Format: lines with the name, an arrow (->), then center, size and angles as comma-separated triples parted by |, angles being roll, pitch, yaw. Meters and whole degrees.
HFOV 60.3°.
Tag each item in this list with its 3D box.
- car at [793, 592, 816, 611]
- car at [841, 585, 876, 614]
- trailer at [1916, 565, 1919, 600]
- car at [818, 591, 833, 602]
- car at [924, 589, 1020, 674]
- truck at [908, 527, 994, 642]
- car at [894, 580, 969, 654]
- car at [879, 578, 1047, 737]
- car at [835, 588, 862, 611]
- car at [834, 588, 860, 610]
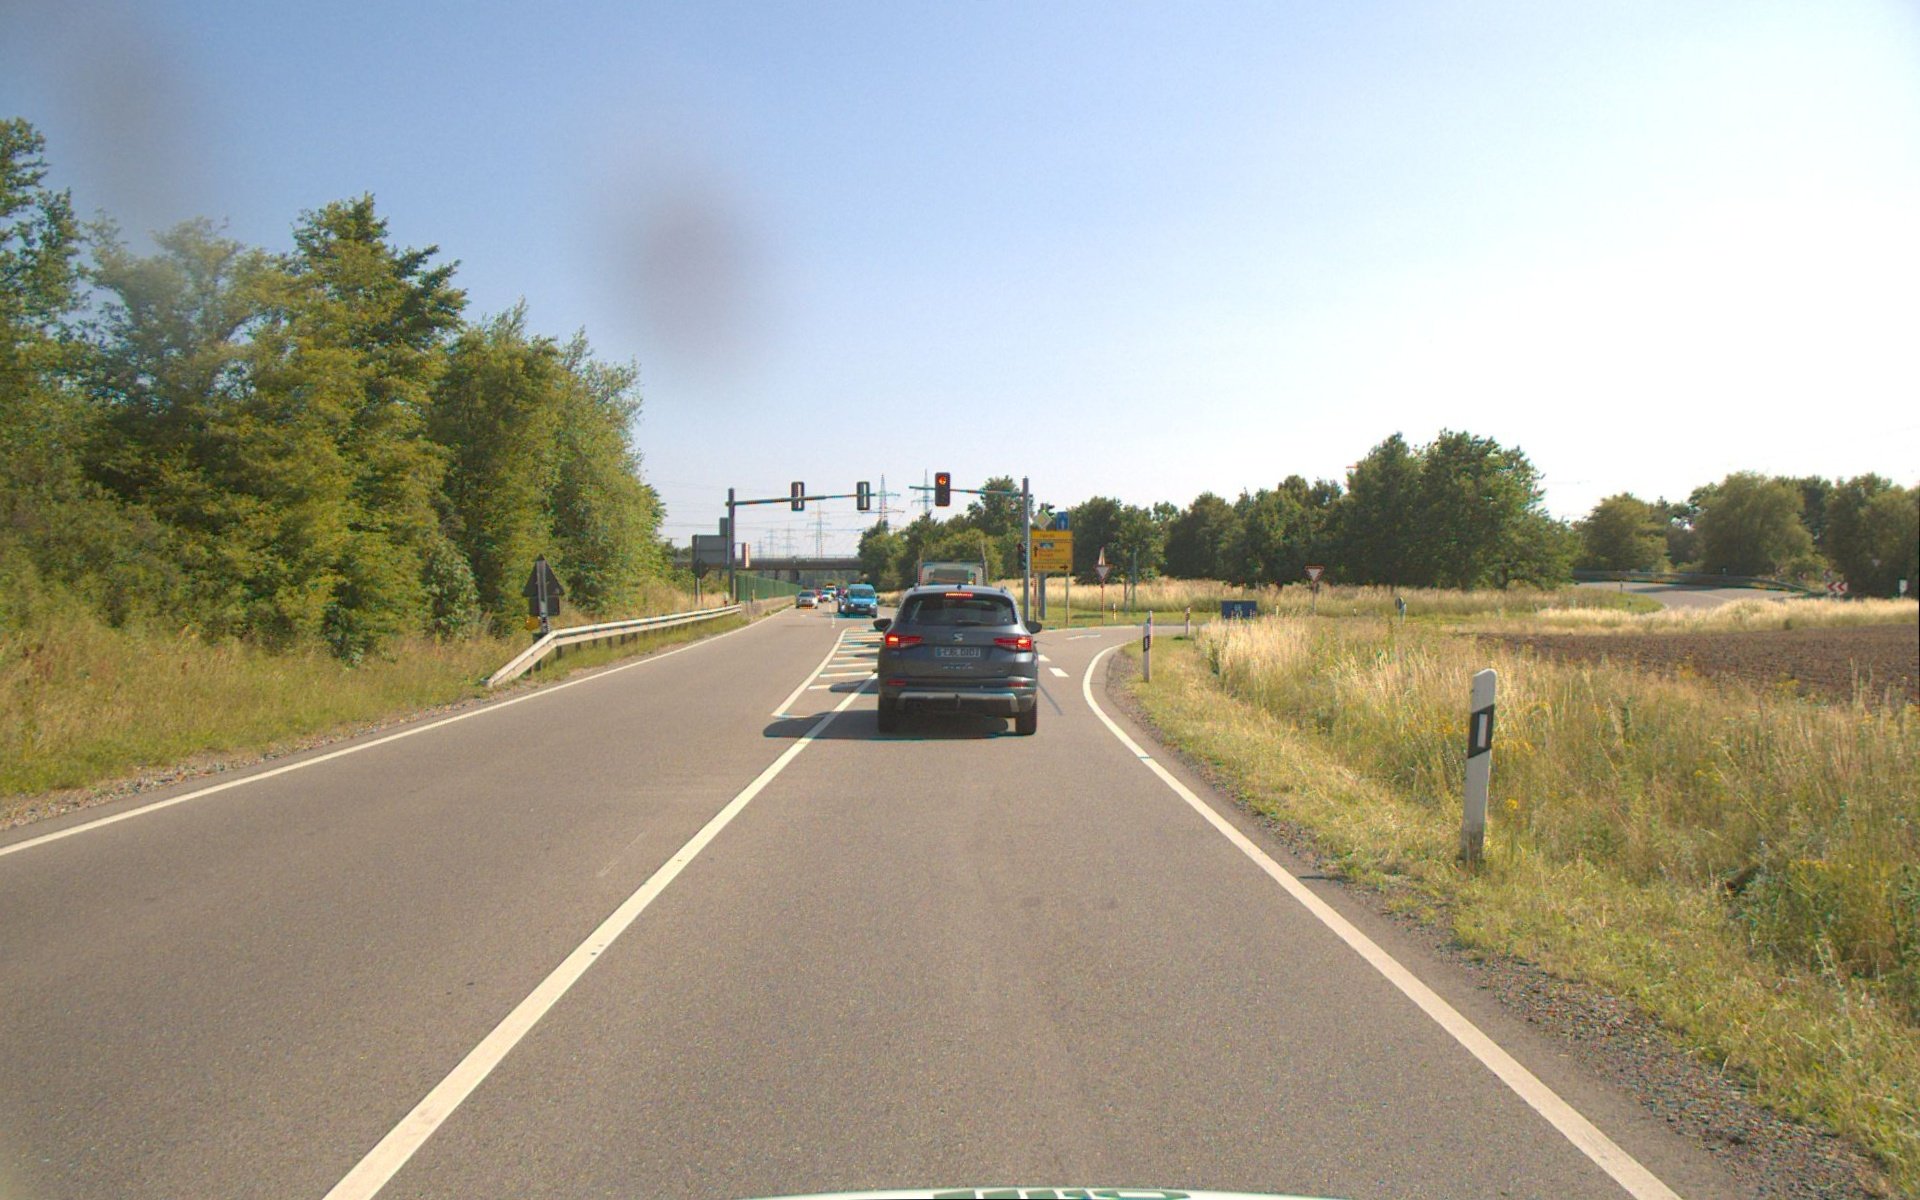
car -> -12.486, 0.092, 132.923 | 1.789, 1.456, 3.995 | 0, 1, -6
car -> -5.629, -0.060, 91.647 | 1.781, 1.567, 3.996 | 0, 1, -5
trailer -> 92.229, -1.545, 149.617 | 3.219, 3.324, 13.446 | 0, 1, -3
car -> -16.817, -0.485, 206.793 | 1.728, 1.357, 3.995 | 0, 1, -6
car -> 0.175, 0.568, 33.035 | 1.750, 1.570, 3.999 | 0, 1, -2
truck -> -0.287, -0.414, 47.884 | 2.290, 3.120, 5.808 | 1, 0, -1
car -> -0.728, 0.364, 40.167 | 1.750, 1.705, 3.999 | 0, 1, -2
car -> -0.034, 0.570, 19.235 | 1.749, 1.657, 3.999 | 0, 1, -2
car -> -7.046, -0.035, 104.084 | 1.651, 1.404, 3.529 | 1, 1, -5
car -> -7.639, -0.090, 111.554 | 1.651, 1.404, 3.529 | 1, 1, -5
